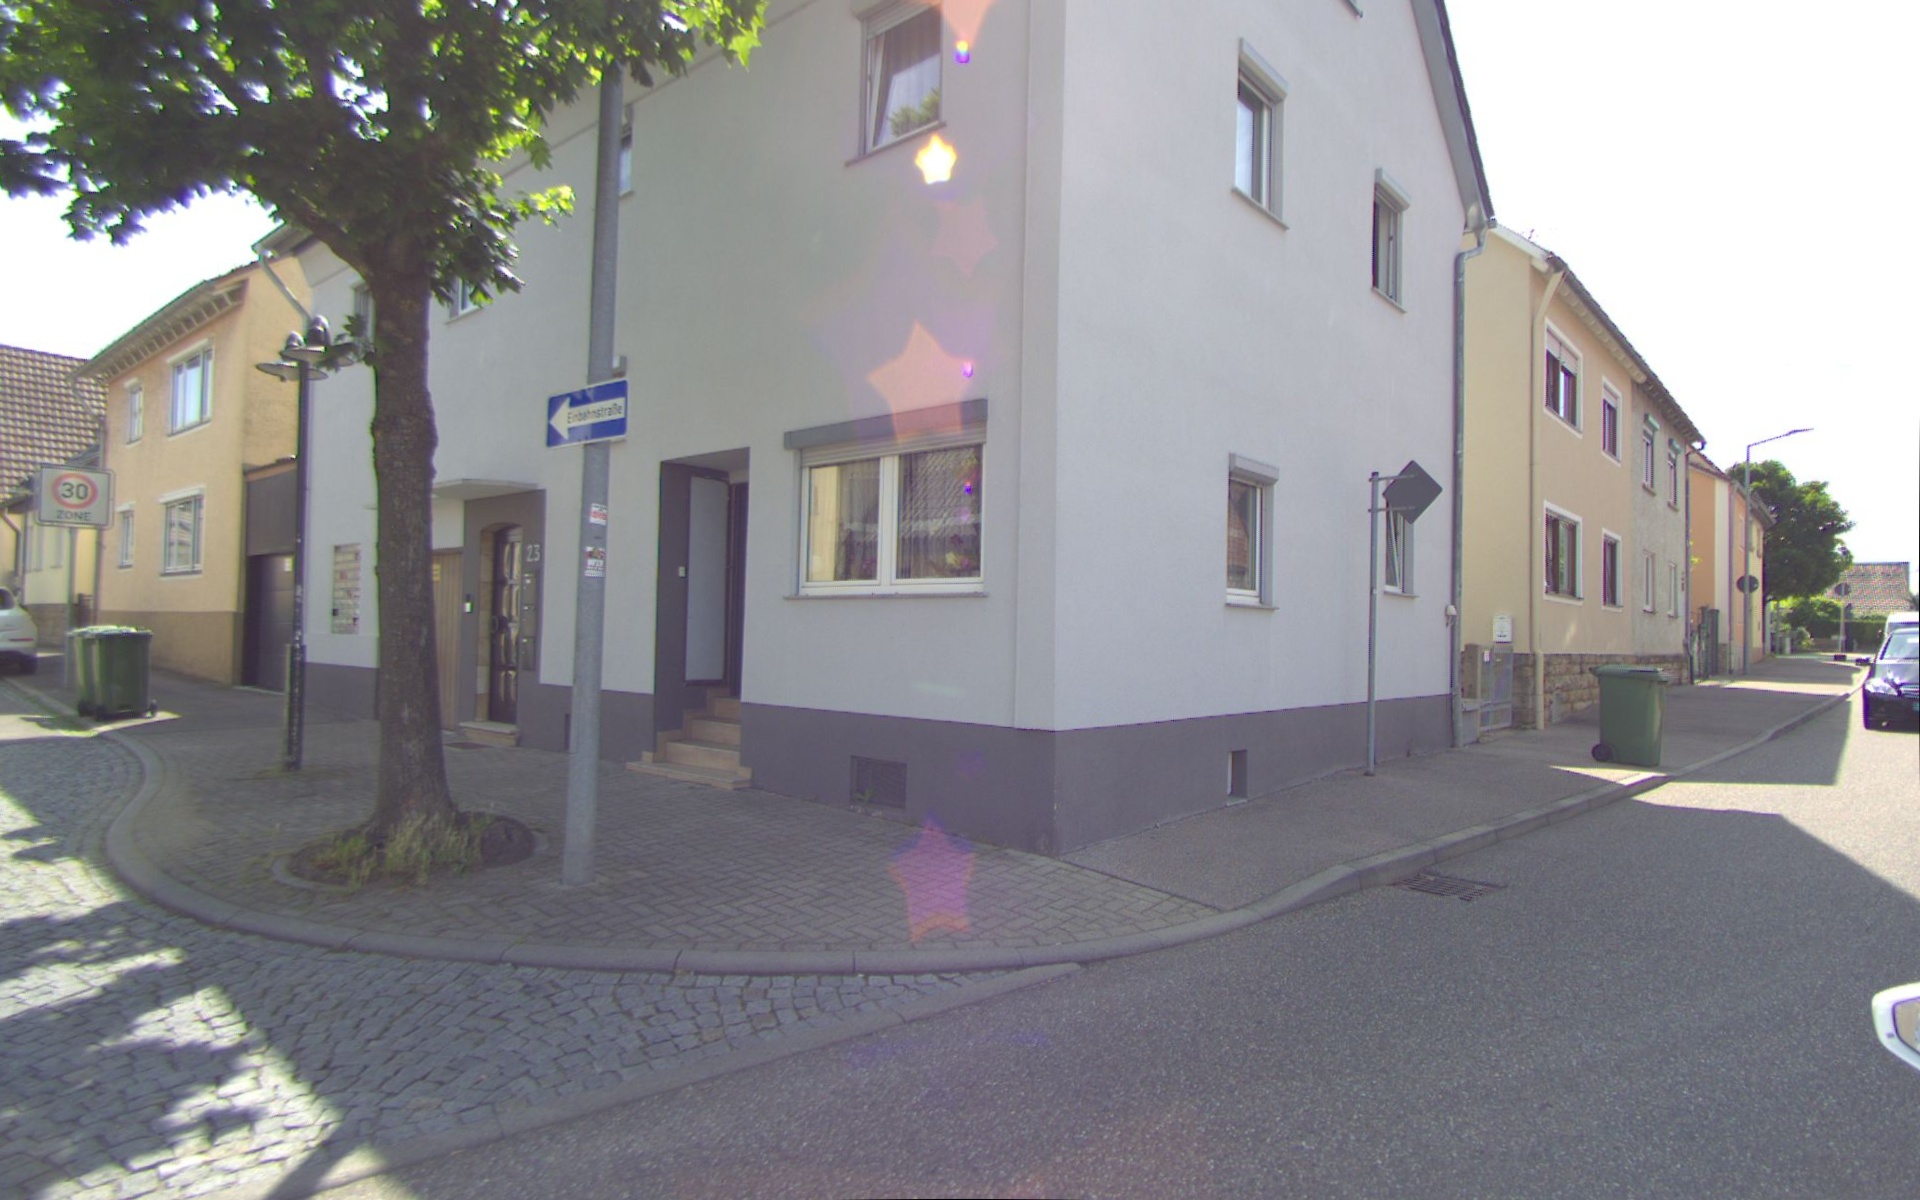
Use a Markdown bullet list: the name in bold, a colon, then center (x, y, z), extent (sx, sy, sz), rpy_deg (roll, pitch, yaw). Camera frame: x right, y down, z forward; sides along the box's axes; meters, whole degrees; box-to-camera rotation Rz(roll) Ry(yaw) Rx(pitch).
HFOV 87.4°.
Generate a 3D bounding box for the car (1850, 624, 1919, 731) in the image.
- **car**: center (15.753, 1.175, 16.133), extent (4.041, 1.576, 1.783), rpy_deg (1, -2, -43)

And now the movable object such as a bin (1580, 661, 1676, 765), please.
- **movable object such as a bin**: center (7.519, 1.244, 11.304), extent (0.674, 1.074, 0.747), rpy_deg (1, -1, -40)

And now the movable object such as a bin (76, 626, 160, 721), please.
- **movable object such as a bin**: center (-10.133, 0.863, 12.087), extent (0.639, 1.086, 0.626), rpy_deg (0, -1, 36)

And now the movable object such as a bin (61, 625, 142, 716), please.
- **movable object such as a bin**: center (-10.661, 0.858, 12.477), extent (0.639, 1.086, 0.626), rpy_deg (0, -1, 36)

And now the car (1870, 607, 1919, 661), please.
- **car**: center (47.986, 1.721, 51.324), extent (2.092, 2.596, 5.793), rpy_deg (-1, -2, 43)

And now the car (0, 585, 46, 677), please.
- **car**: center (-17.732, 0.499, 17.699), extent (3.937, 1.535, 1.782), rpy_deg (0, -1, 38)
